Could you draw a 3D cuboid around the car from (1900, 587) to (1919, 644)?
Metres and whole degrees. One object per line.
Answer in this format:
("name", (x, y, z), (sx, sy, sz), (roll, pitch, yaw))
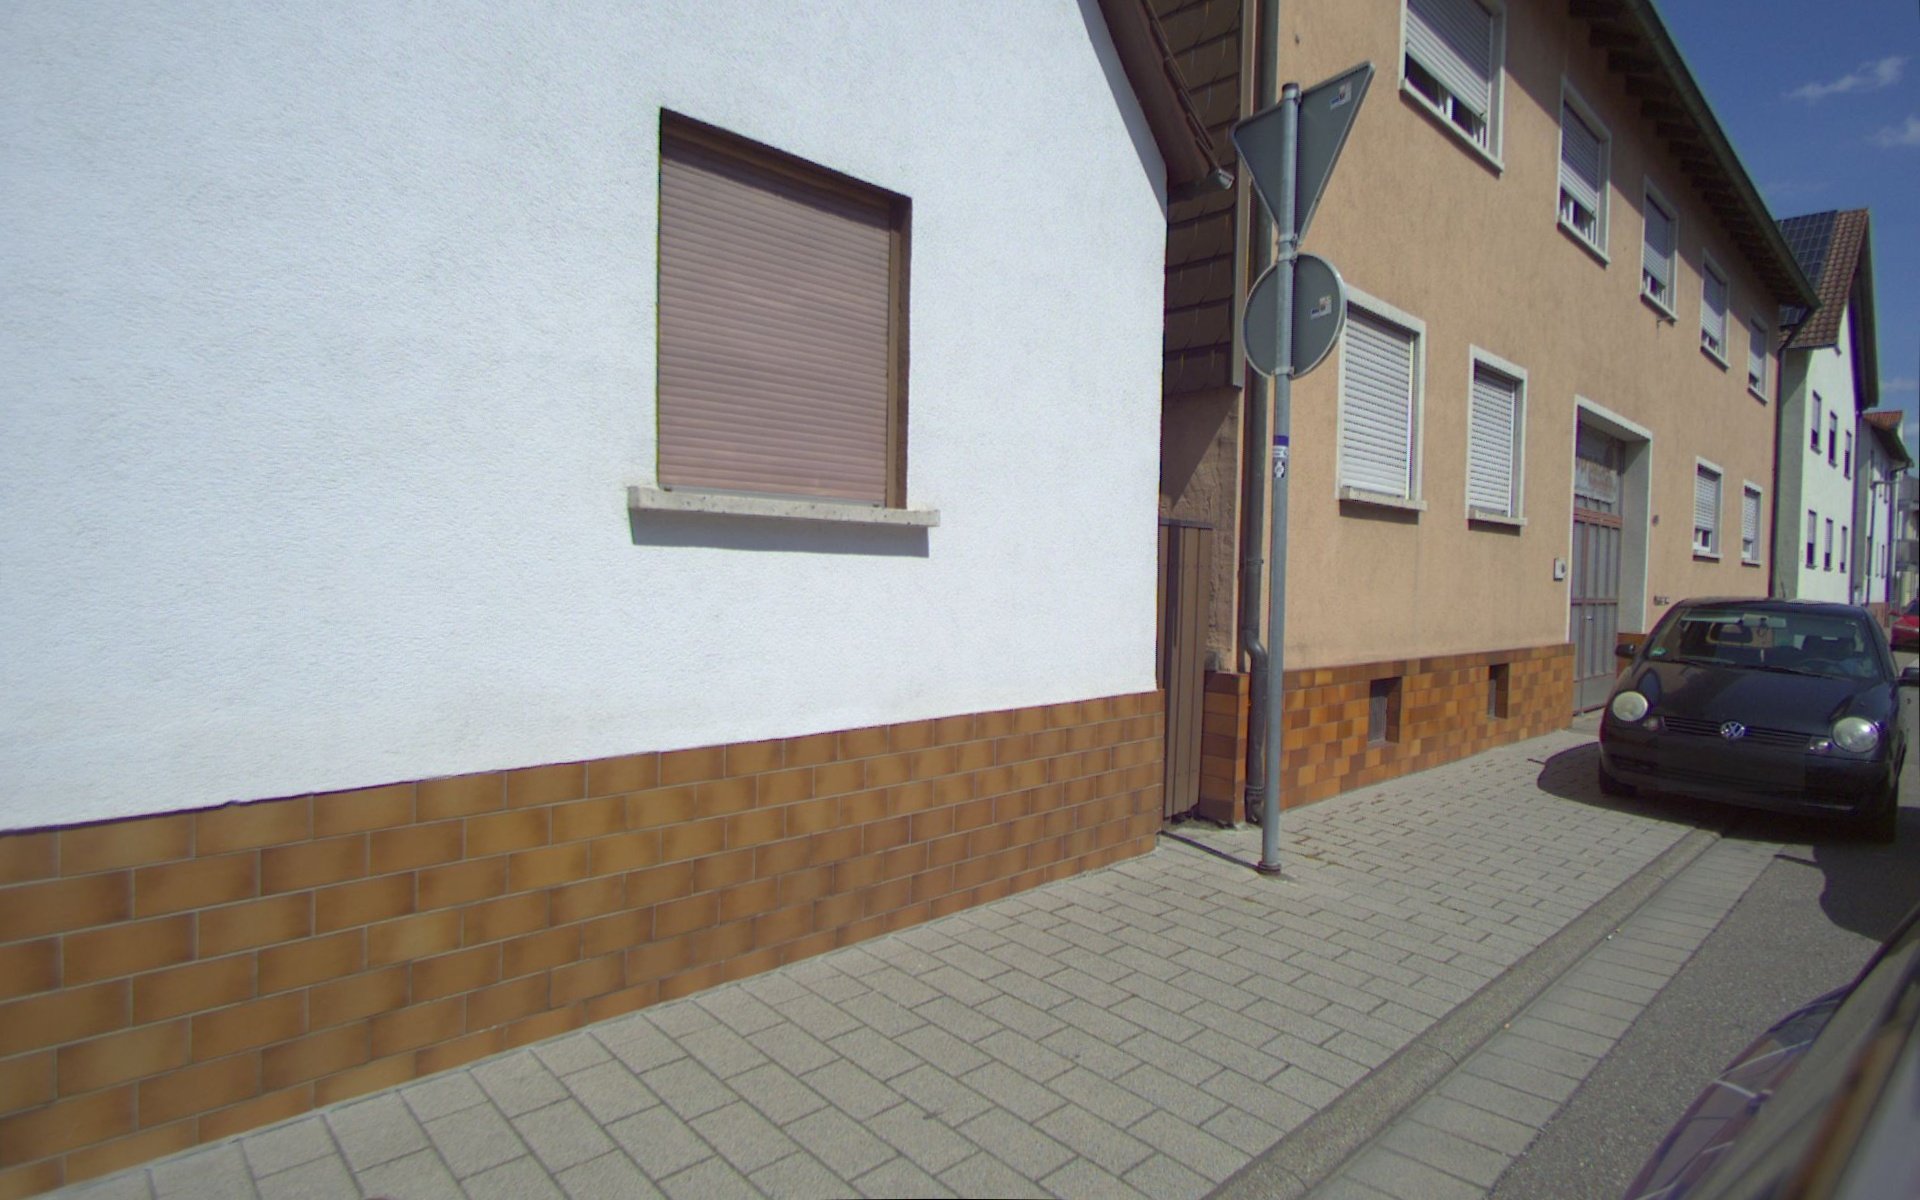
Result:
("car", (26.515, 0.427, 27.101), (4.120, 1.446, 1.762), (0, 2, -45))

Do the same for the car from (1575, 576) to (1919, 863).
("car", (5.993, 0.642, 7.377), (3.569, 1.481, 1.688), (0, 4, -44))
